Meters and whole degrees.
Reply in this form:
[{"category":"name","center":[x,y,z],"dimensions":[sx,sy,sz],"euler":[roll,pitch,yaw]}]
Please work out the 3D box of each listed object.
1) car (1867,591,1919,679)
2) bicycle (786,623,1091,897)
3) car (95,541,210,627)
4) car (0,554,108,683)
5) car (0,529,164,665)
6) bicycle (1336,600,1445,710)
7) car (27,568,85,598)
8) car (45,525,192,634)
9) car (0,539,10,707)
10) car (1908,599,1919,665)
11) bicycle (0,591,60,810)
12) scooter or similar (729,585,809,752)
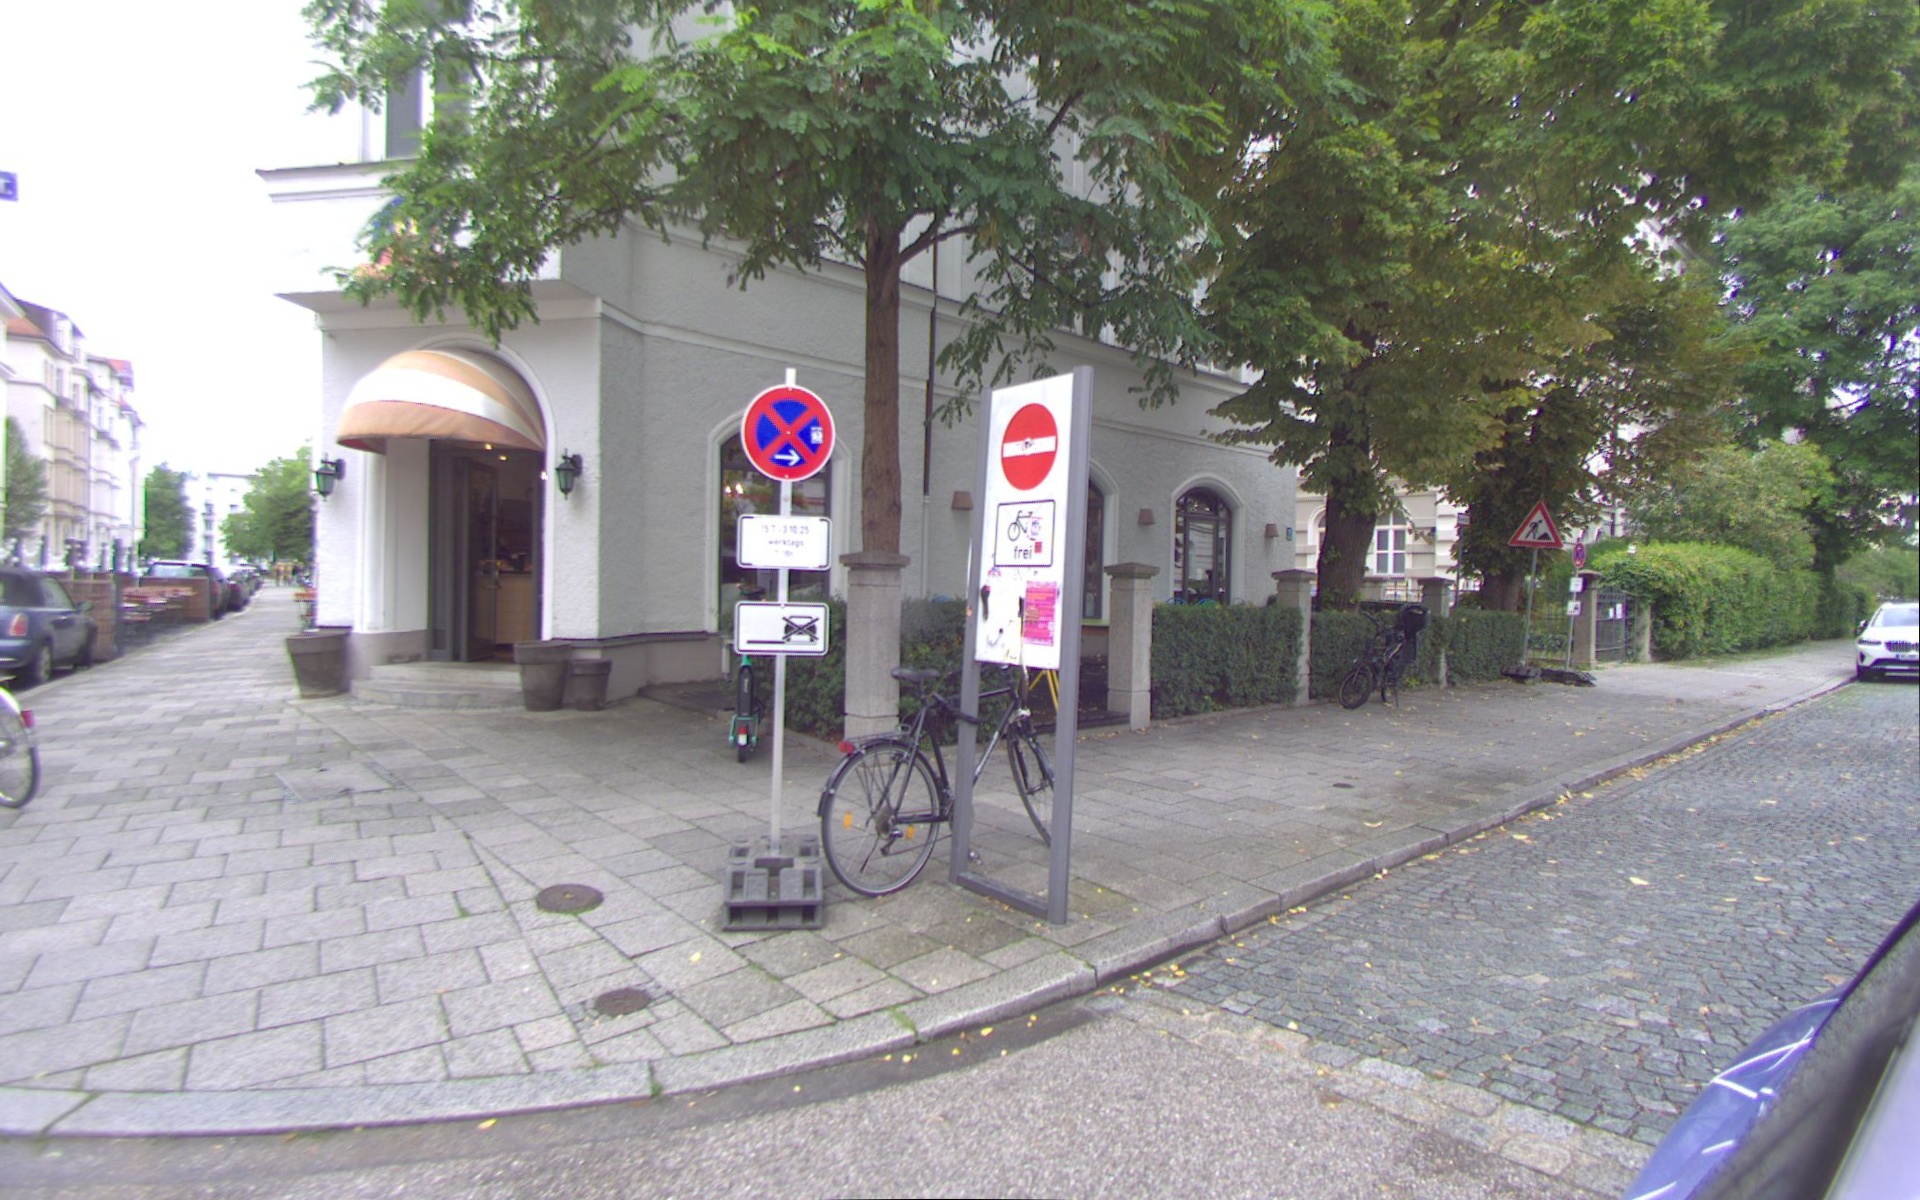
[{"category":"car","center":[20.872,0.693,21.496],"dimensions":[4.555,1.706,1.923],"euler":[-1,2,-42]},{"category":"bicycle","center":[-0.062,0.715,5.039],"dimensions":[1.559,1.161,0.389],"euler":[0,1,-36]},{"category":"car","center":[-18.910,-0.384,23.863],"dimensions":[1.708,1.835,4.002],"euler":[0,1,-33]},{"category":"car","center":[-12.071,0.170,12.605],"dimensions":[1.667,1.443,3.544],"euler":[0,1,-31]},{"category":"car","center":[-14.627,-0.092,16.785],"dimensions":[1.739,1.994,3.936],"euler":[0,1,-31]},{"category":"bicycle","center":[5.238,0.625,12.269],"dimensions":[1.701,1.212,0.429],"euler":[0,6,-42]},{"category":"car","center":[-48.192,-0.902,54.010],"dimensions":[1.963,1.529,3.999],"euler":[0,1,-37]},{"category":"car","center":[-16.650,-0.404,20.200],"dimensions":[1.696,1.959,3.664],"euler":[0,1,-31]},{"category":"car","center":[-9.189,0.261,7.799],"dimensions":[1.867,1.617,4.092],"euler":[0,1,-31]},{"category":"car","center":[25.846,0.816,26.118],"dimensions":[4.397,1.620,1.749],"euler":[0,1,-43]},{"category":"bicycle","center":[-5.800,0.547,5.879],"dimensions":[0.726,1.081,1.605],"euler":[-4,6,-39]},{"category":"scooter or similar","center":[-1.588,0.497,8.266],"dimensions":[0.396,1.187,1.612],"euler":[1,2,-19]}]
